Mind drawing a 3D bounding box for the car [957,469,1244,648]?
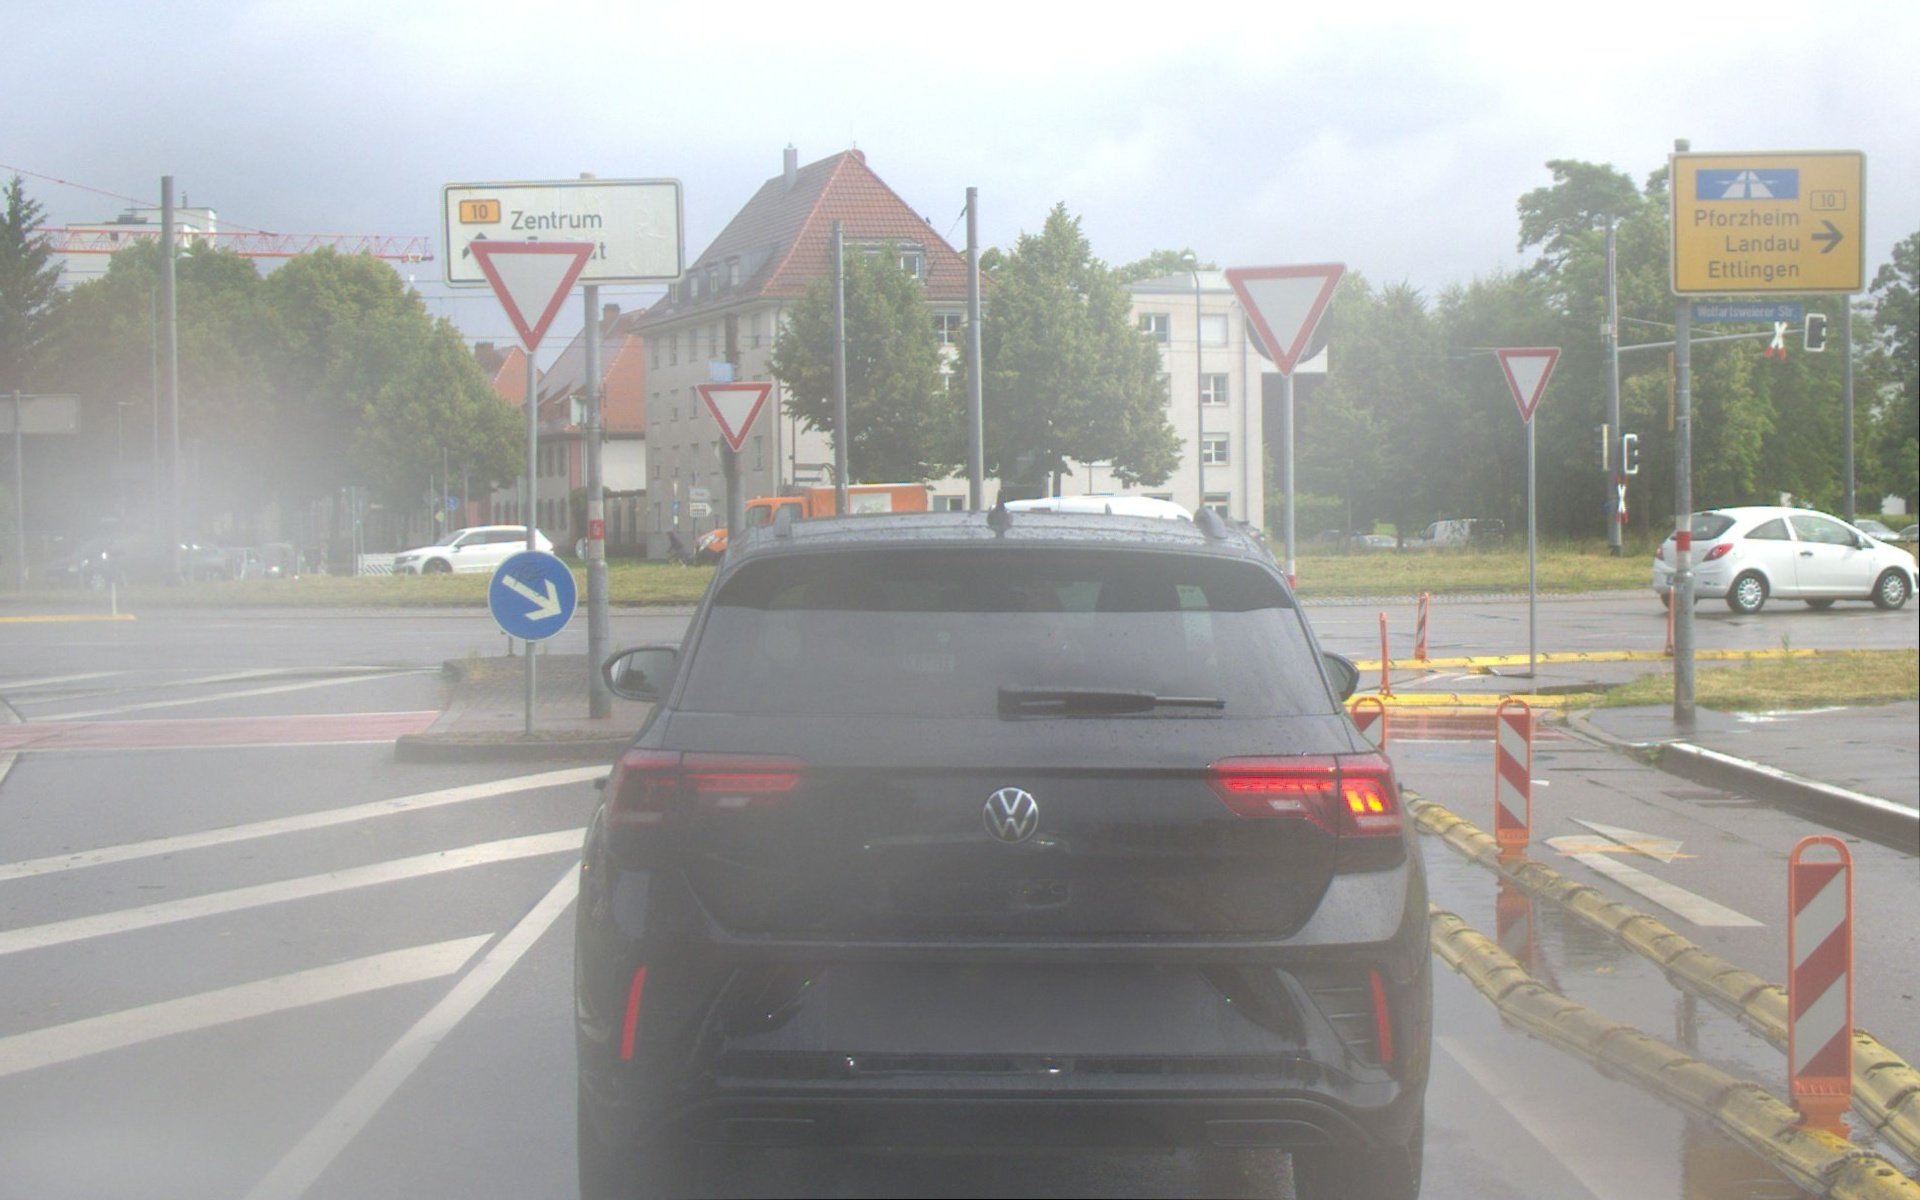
[{"bbox_3d":[1.583,-0.474,36.965,1.866,1.803,4.400,0,1,19],"label":"car"}]

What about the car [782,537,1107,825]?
[{"bbox_3d":[-0.156,0.397,20.182,1.735,1.509,3.604,0,1,-2],"label":"car"}]

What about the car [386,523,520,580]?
[{"bbox_3d":[-14.524,-1.403,98.526,3.494,1.579,1.567,-1,1,-24],"label":"car"}]

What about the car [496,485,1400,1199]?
[{"bbox_3d":[-0.126,0.540,8.356,1.708,1.568,3.683,0,1,-3],"label":"car"}]

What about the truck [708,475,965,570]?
[{"bbox_3d":[-3.534,-2.218,97.719,7.064,2.641,2.330,-1,1,-9],"label":"truck"}]

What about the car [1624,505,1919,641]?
[{"bbox_3d":[11.650,-0.405,48.588,3.986,1.824,2.000,-1,1,-23],"label":"car"}]
